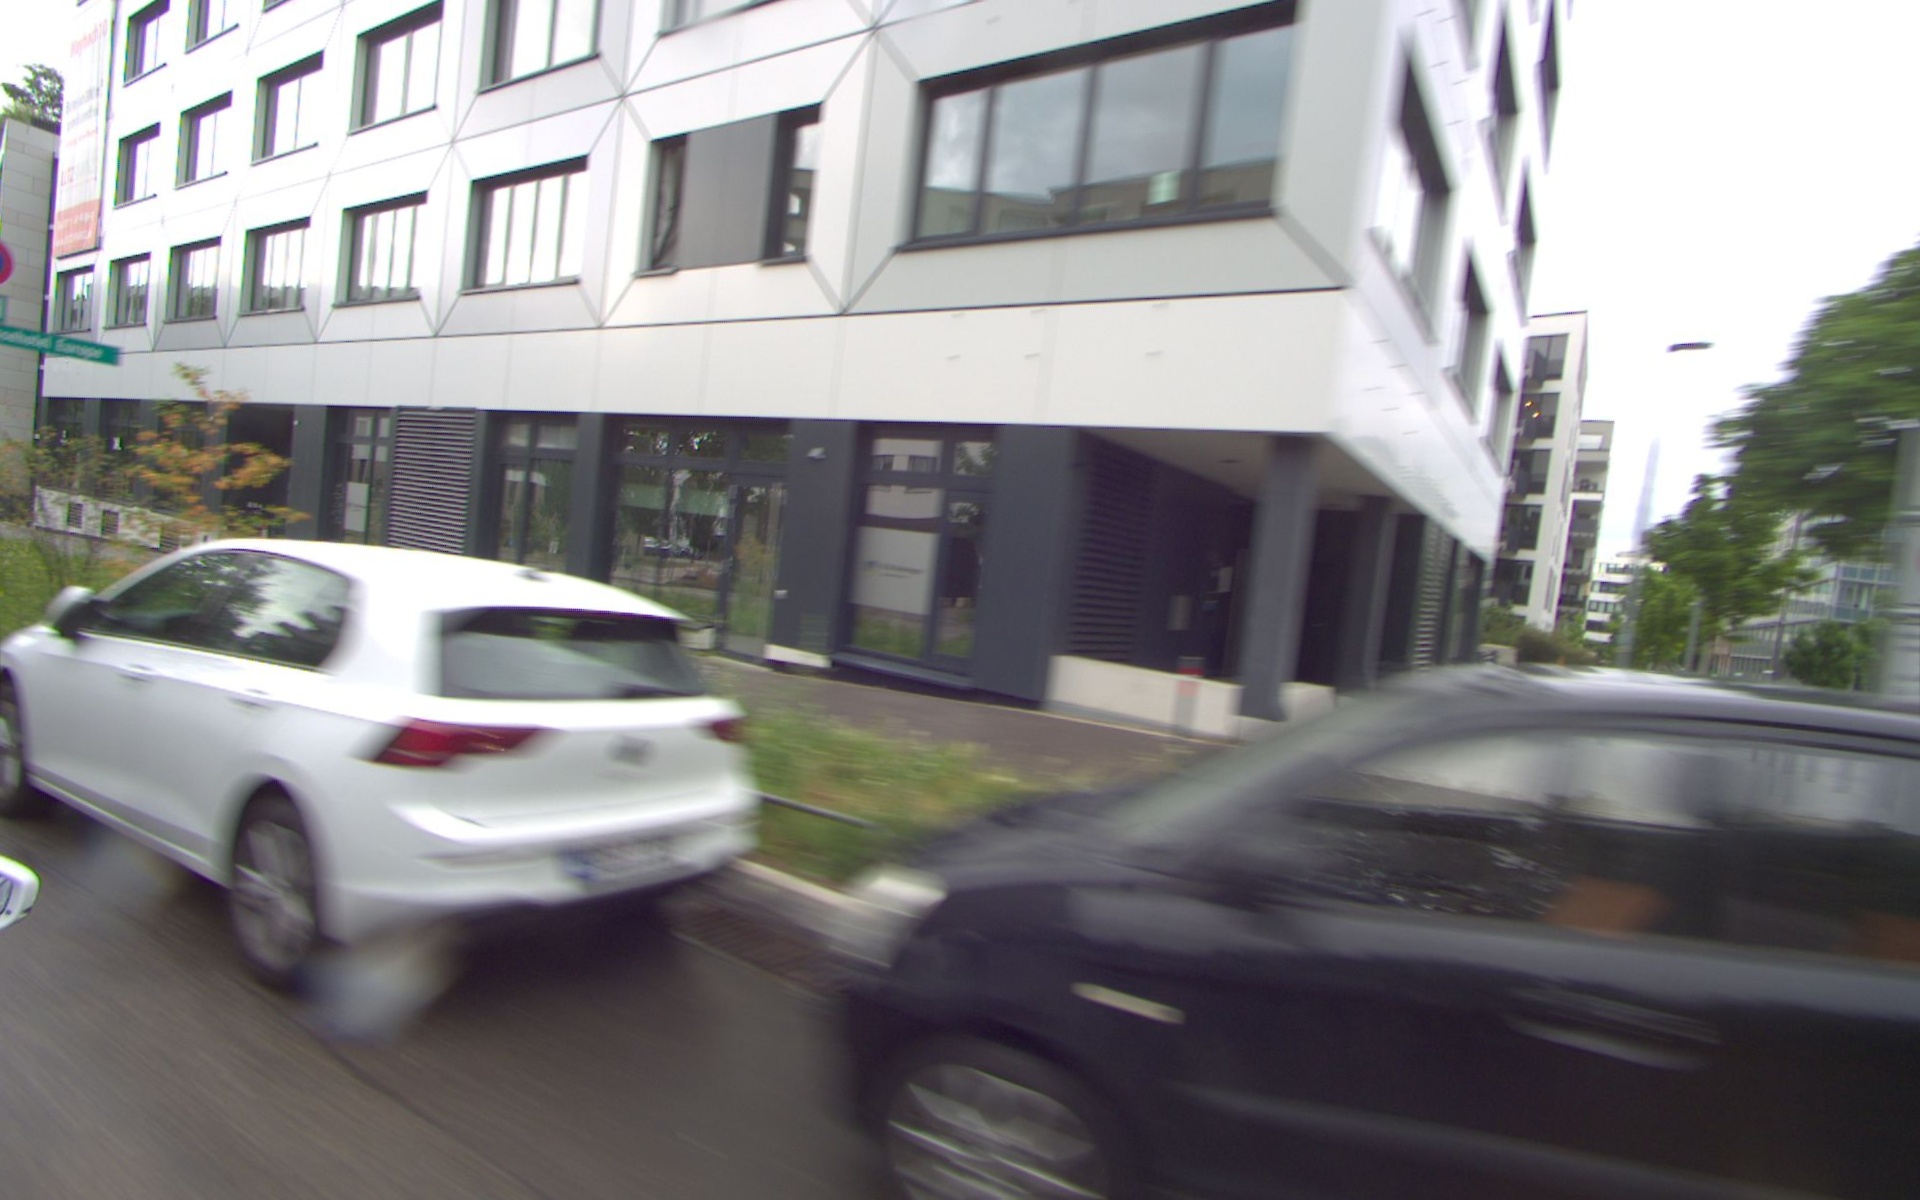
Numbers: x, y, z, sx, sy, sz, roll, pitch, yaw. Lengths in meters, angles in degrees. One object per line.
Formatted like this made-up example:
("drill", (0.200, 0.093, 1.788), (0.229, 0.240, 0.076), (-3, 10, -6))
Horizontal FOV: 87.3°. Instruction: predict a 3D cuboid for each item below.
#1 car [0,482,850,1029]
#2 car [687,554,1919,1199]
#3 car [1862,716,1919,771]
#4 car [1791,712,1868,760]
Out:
("car", (-2.961, 0.353, 4.878), (4.429, 1.483, 2.041), (6, 0, 32))
("car", (1.586, 0.846, 2.753), (3.981, 1.476, 2.050), (6, 0, 22))
("car", (32.753, 4.961, 34.472), (1.914, 1.505, 3.989), (7, 1, 32))
("car", (40.831, 6.352, 47.338), (1.967, 1.661, 3.989), (7, 1, 32))
